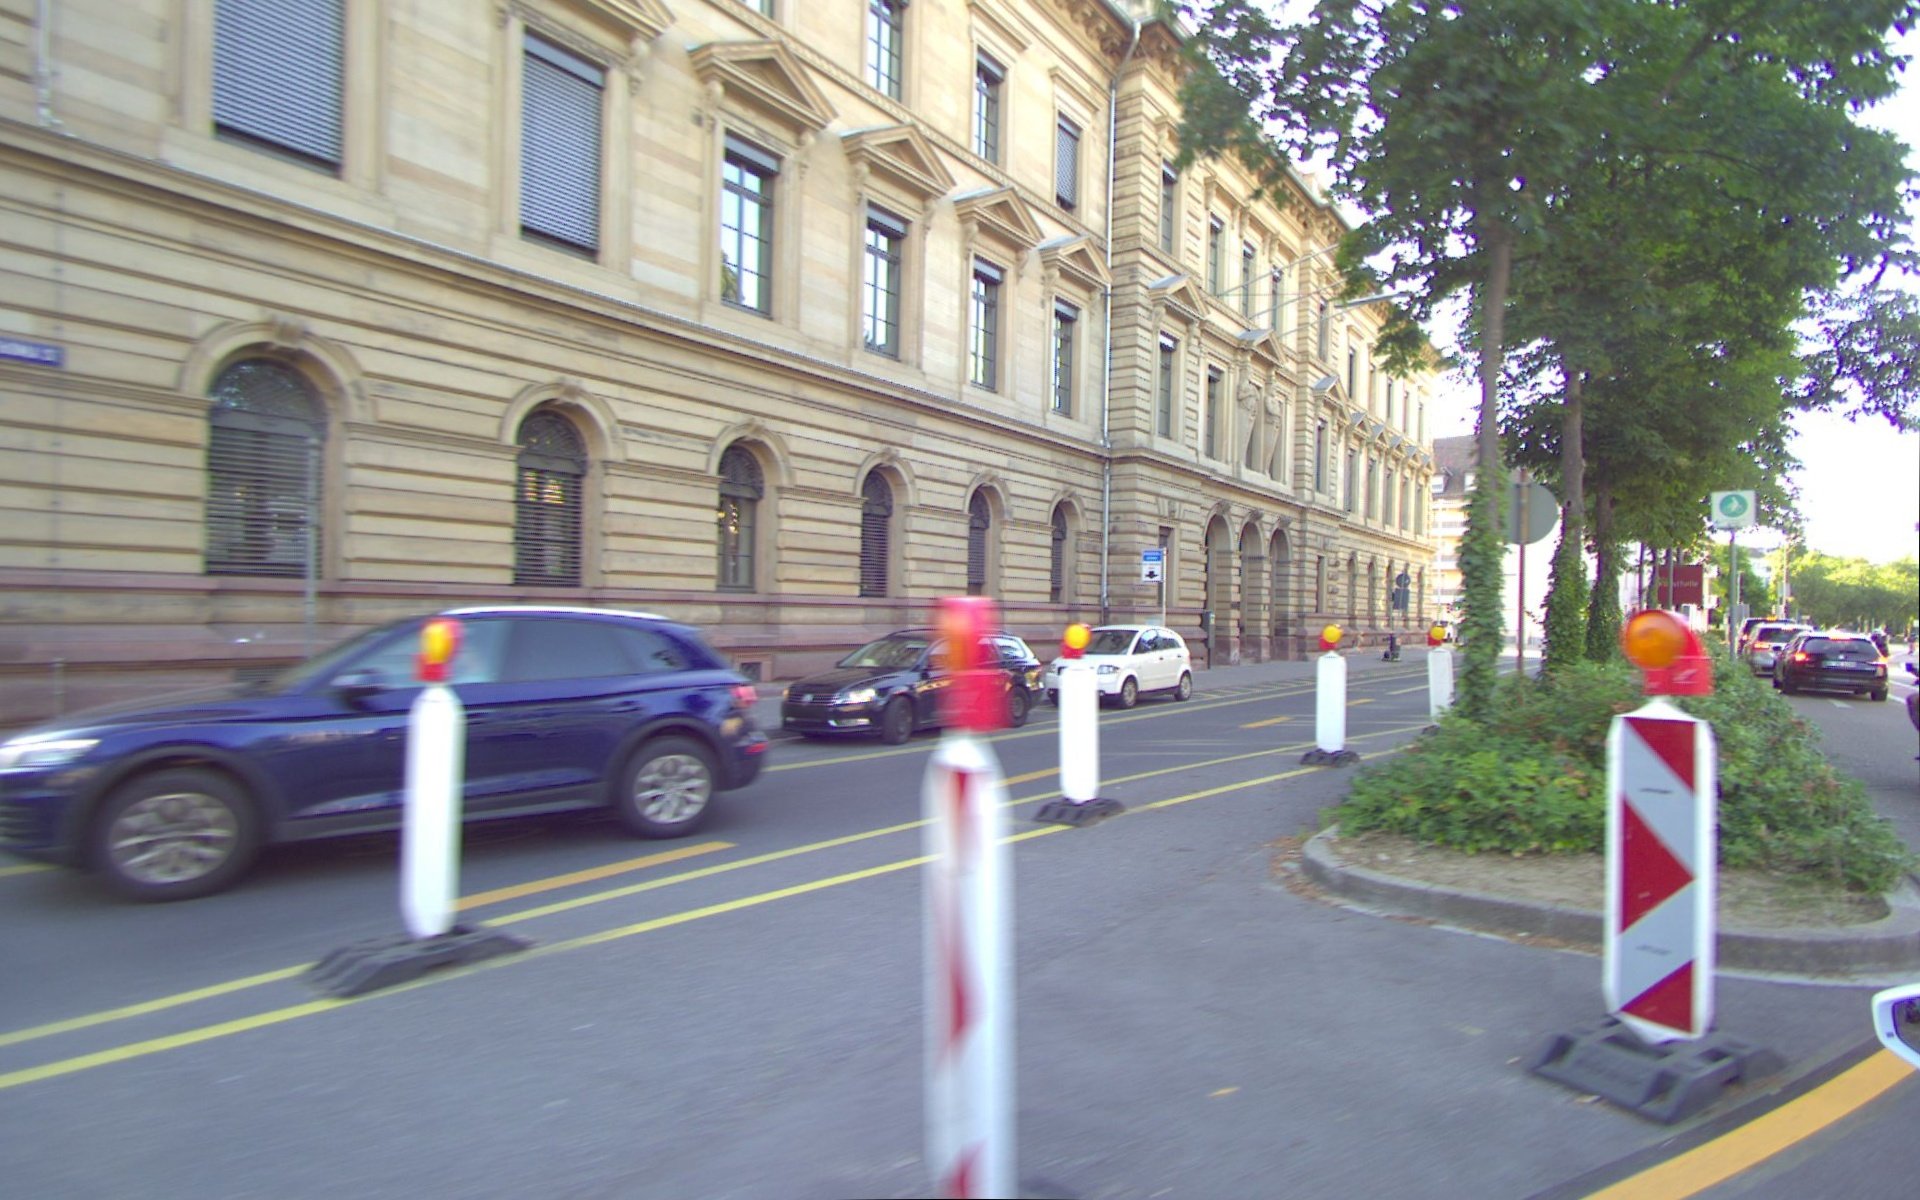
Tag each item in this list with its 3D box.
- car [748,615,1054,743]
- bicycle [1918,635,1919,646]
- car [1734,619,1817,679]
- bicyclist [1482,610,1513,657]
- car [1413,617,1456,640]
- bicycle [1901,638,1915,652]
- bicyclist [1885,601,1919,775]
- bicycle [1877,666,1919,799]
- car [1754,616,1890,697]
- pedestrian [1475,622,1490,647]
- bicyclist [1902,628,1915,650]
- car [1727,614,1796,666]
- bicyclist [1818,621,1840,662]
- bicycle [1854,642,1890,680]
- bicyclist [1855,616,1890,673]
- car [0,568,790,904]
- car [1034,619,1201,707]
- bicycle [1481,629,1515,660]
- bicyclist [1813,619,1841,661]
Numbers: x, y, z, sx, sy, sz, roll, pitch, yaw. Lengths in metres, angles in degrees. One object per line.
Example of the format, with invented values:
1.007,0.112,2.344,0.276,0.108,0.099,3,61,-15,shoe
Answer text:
-0.655,1.001,14.445,1.855,1.527,4.625,-1,-2,37,car
94.194,3.957,98.018,1.853,1.039,0.747,3,0,-38,bicycle
26.819,1.551,33.164,1.966,1.773,4.728,1,0,38,car
21.734,1.360,40.583,0.870,1.858,1.281,-2,-3,38,bicyclist
37.375,2.207,79.058,1.970,1.709,4.592,1,0,40,car
72.917,3.463,77.249,0.636,1.038,2.201,4,1,42,bicycle
9.194,0.817,9.202,0.856,1.543,1.226,4,1,37,bicyclist
9.176,1.201,9.217,0.859,1.056,2.444,3,1,37,bicycle
20.380,1.272,23.955,1.967,1.679,4.721,1,0,35,car
34.960,2.307,67.163,0.624,1.605,0.814,5,2,40,pedestrian
72.900,3.005,77.222,0.629,1.636,1.277,3,1,41,bicyclist
33.058,1.632,41.539,2.041,1.941,5.015,1,-1,37,car
35.567,1.690,41.117,0.662,1.629,0.821,1,0,40,bicyclist
28.069,1.854,30.928,0.661,1.087,1.745,3,0,39,bicycle
28.010,1.350,30.841,0.664,1.674,0.883,3,1,38,bicyclist
-3.701,0.736,7.045,4.609,1.693,1.864,1,-1,-36,car
3.210,1.170,19.905,1.646,1.528,3.832,1,0,37,car
21.770,1.804,40.617,0.870,1.210,2.167,-2,-3,38,bicycle
34.036,1.565,39.446,0.793,1.629,0.821,1,0,40,bicyclist
